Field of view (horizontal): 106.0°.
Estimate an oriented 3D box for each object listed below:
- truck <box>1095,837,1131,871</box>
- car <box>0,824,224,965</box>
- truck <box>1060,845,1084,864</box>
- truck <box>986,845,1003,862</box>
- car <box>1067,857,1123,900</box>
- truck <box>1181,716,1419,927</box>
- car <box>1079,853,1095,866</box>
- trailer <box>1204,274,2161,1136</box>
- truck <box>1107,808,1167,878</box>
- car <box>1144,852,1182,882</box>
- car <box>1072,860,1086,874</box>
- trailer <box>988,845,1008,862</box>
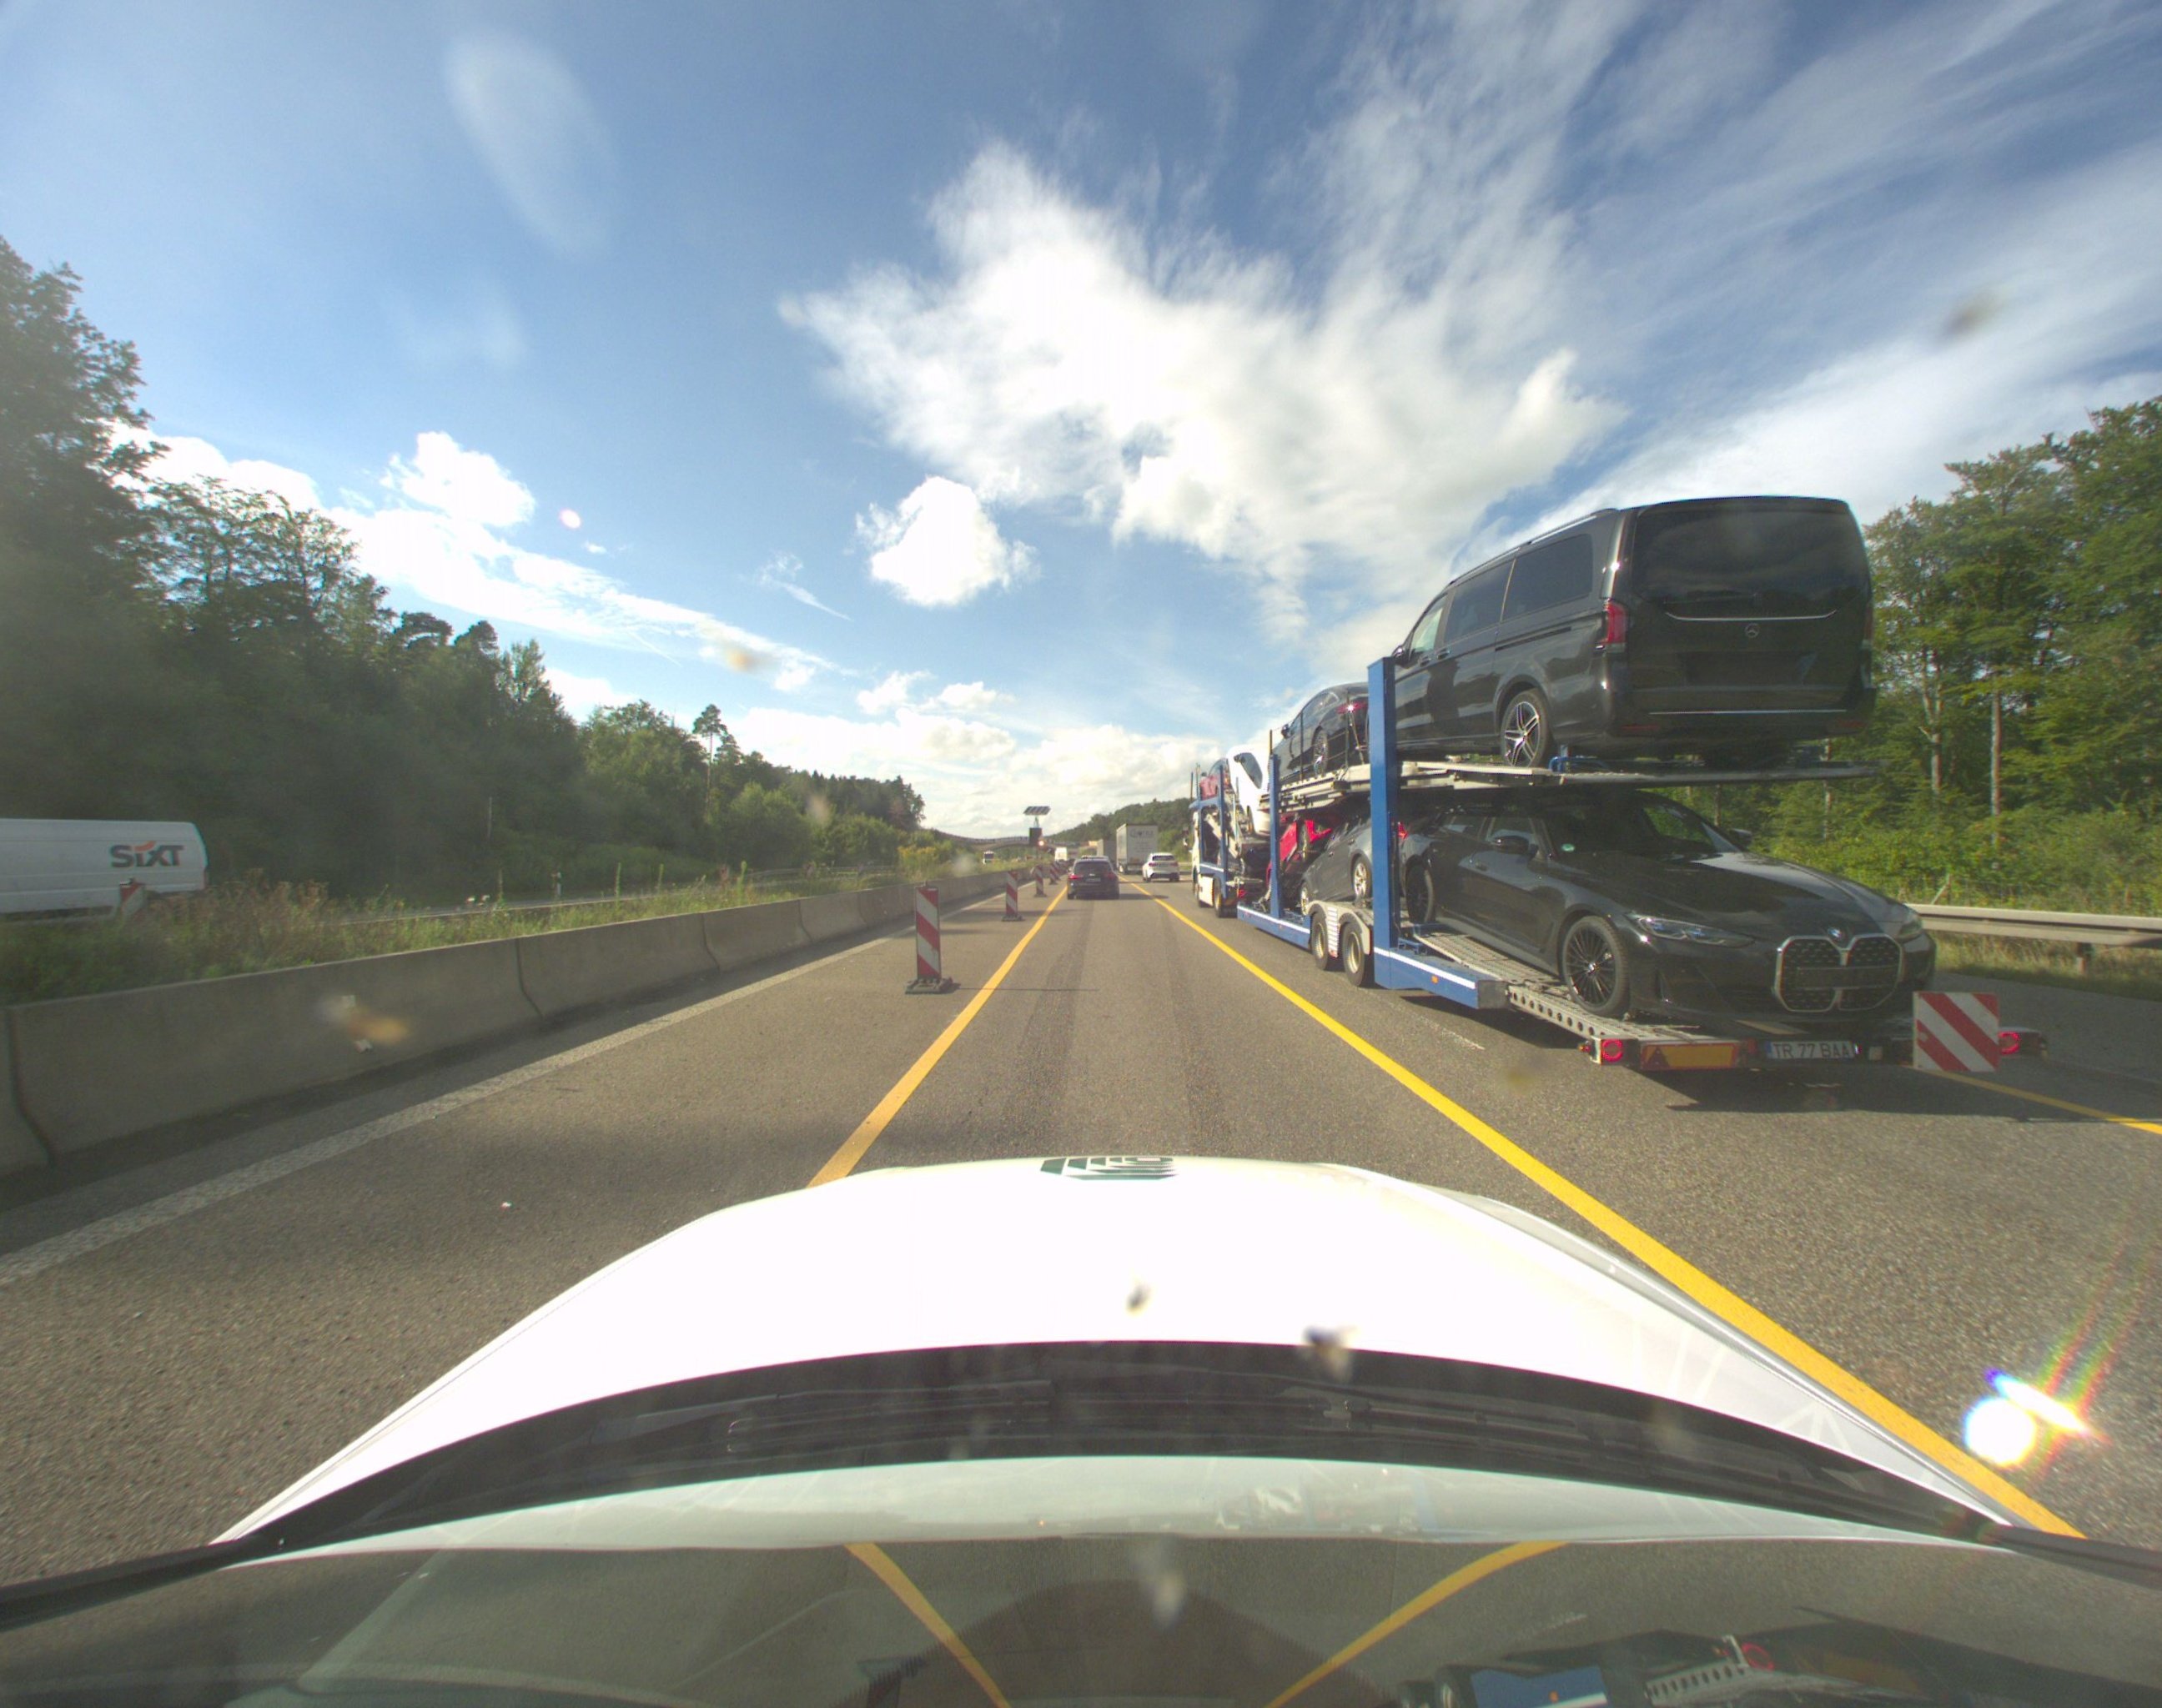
[{"bbox_3d":[4.457,0.070,116.558,4.309,4.600,11.113,-1,-1,-3],"label":"truck"},{"bbox_3d":[-21.561,0.794,16.174,2.020,2.684,6.525,-1,-1,2],"label":"car"},{"bbox_3d":[-2.007,0.153,173.647,3.652,3.928,11.034,0,-1,-9],"label":"truck"},{"bbox_3d":[-17.907,-0.020,168.819,2.774,3.490,4.941,-1,-1,1],"label":"truck"},{"bbox_3d":[0.542,0.854,29.862,1.883,1.446,4.001,-1,-1,2],"label":"car"},{"bbox_3d":[4.890,-0.628,20.341,3.749,4.196,7.949,-1,-1,0],"label":"truck"},{"bbox_3d":[0.779,0.781,108.597,1.886,1.643,4.013,-1,-1,-3],"label":"car"},{"bbox_3d":[4.883,-0.684,12.093,3.714,4.196,16.225,-1,-1,0],"label":"trailer"},{"bbox_3d":[4.627,-0.797,71.229,3.668,5.353,16.189,-1,-1,-2],"label":"truck"},{"bbox_3d":[4.676,0.758,47.033,1.883,1.643,4.019,-1,-1,2],"label":"car"},{"bbox_3d":[-0.361,1.979,125.714,1.989,2.014,3.994,-1,-1,-4],"label":"car"},{"bbox_3d":[-17.792,0.008,175.041,2.792,3.490,11.115,-1,-1,1],"label":"trailer"}]
